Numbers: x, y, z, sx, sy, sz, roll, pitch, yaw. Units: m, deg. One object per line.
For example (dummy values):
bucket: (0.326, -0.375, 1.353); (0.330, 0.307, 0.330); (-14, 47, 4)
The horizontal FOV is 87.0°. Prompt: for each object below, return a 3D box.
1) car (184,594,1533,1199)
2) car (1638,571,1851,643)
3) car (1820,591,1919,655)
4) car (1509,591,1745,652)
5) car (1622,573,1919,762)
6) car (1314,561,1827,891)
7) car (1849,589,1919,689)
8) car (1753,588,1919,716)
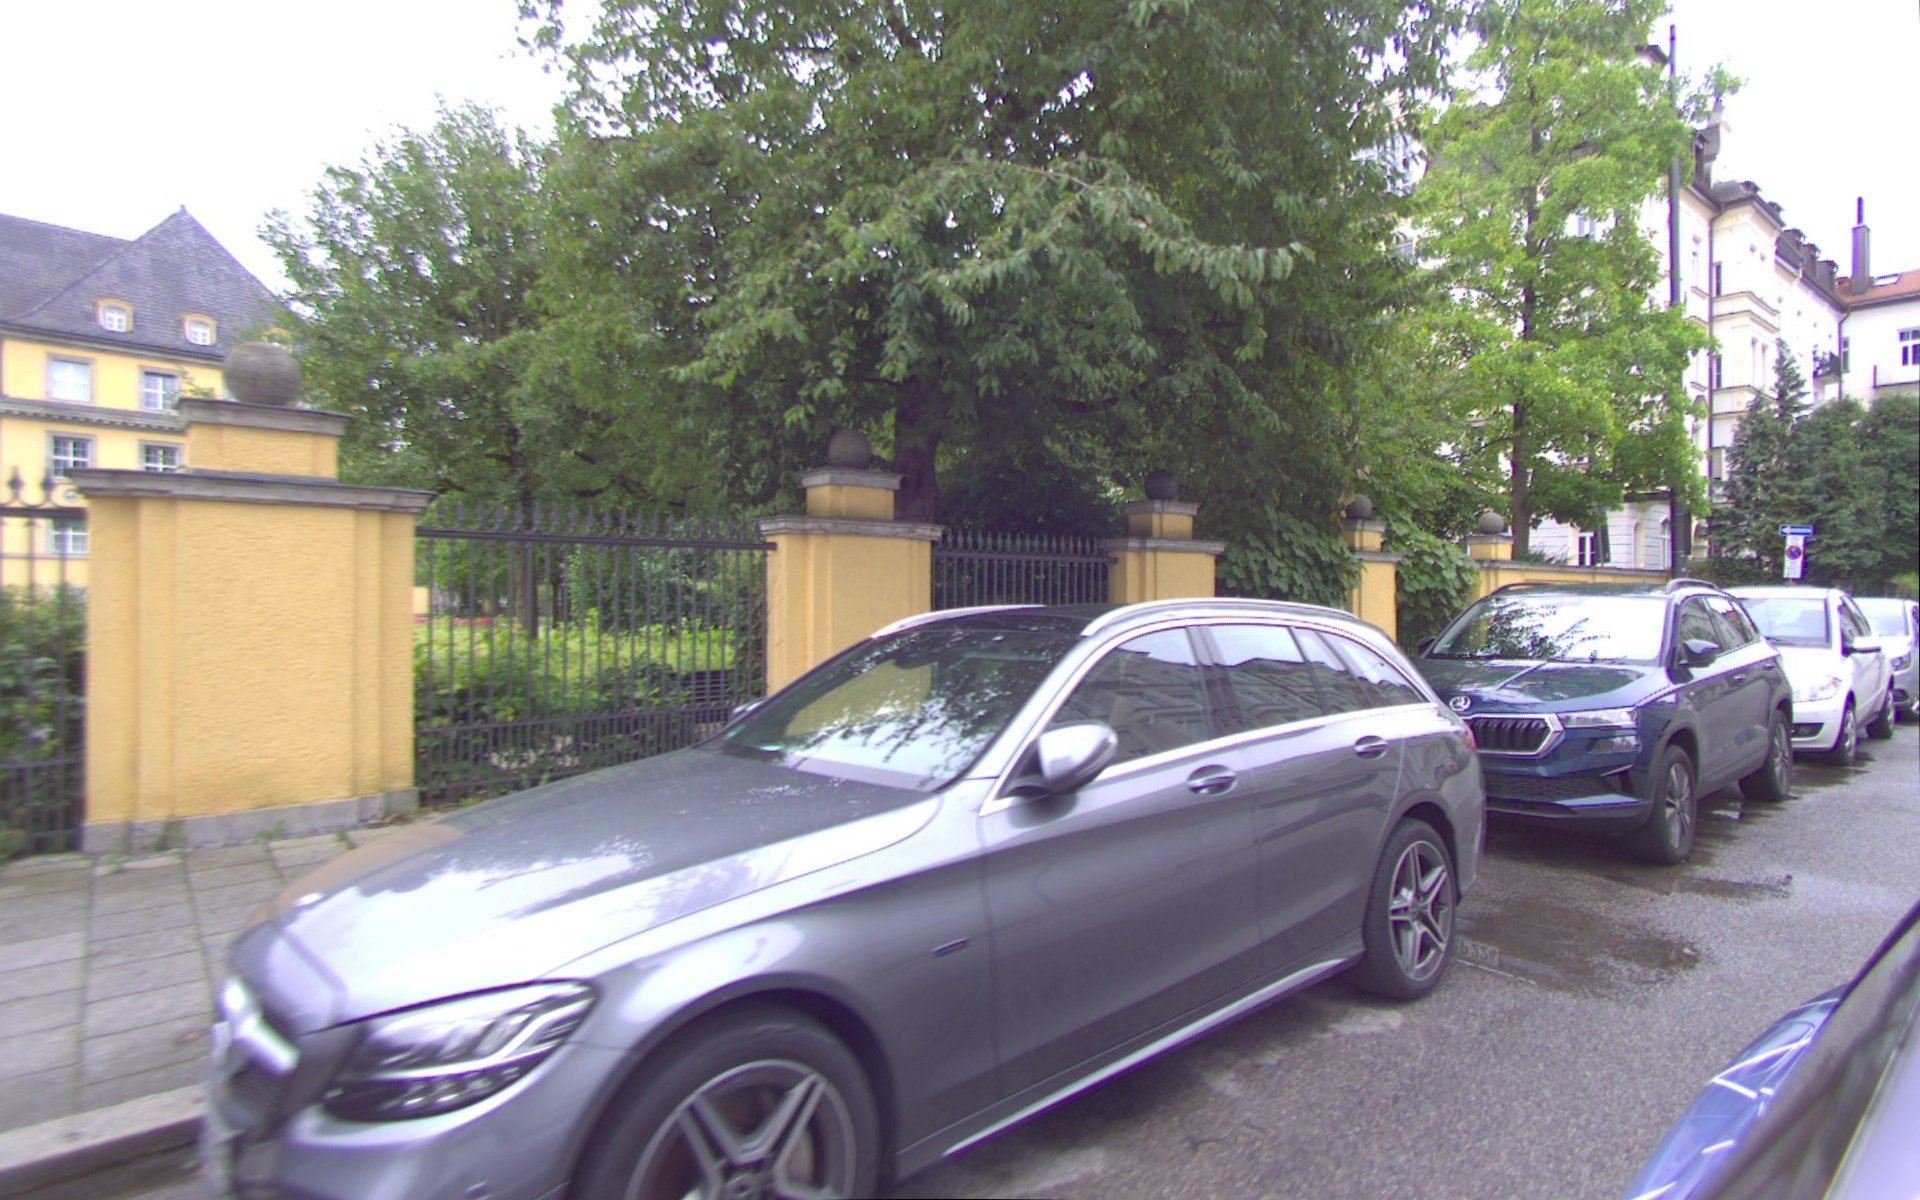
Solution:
car: (0.167, 0.706, 3.466); (4.436, 1.432, 1.695); (-1, 1, -40)
car: (22.529, 0.199, 29.213); (1.713, 1.896, 4.668); (3, -2, -44)
car: (22.527, 0.527, 22.727); (1.757, 1.431, 4.588); (0, 1, -27)
car: (17.275, 0.498, 26.421); (4.940, 1.430, 1.715); (1, 0, 45)
car: (8.595, 0.543, 10.561); (4.244, 1.590, 1.716); (-1, 0, -41)
car: (4.465, 0.584, 7.044); (4.609, 1.590, 1.716); (-1, 0, -41)
car: (16.033, 0.551, 16.453); (4.868, 1.471, 1.716); (-1, 1, -41)
car: (12.143, 0.574, 13.492); (4.110, 1.471, 1.716); (-1, 0, -41)
